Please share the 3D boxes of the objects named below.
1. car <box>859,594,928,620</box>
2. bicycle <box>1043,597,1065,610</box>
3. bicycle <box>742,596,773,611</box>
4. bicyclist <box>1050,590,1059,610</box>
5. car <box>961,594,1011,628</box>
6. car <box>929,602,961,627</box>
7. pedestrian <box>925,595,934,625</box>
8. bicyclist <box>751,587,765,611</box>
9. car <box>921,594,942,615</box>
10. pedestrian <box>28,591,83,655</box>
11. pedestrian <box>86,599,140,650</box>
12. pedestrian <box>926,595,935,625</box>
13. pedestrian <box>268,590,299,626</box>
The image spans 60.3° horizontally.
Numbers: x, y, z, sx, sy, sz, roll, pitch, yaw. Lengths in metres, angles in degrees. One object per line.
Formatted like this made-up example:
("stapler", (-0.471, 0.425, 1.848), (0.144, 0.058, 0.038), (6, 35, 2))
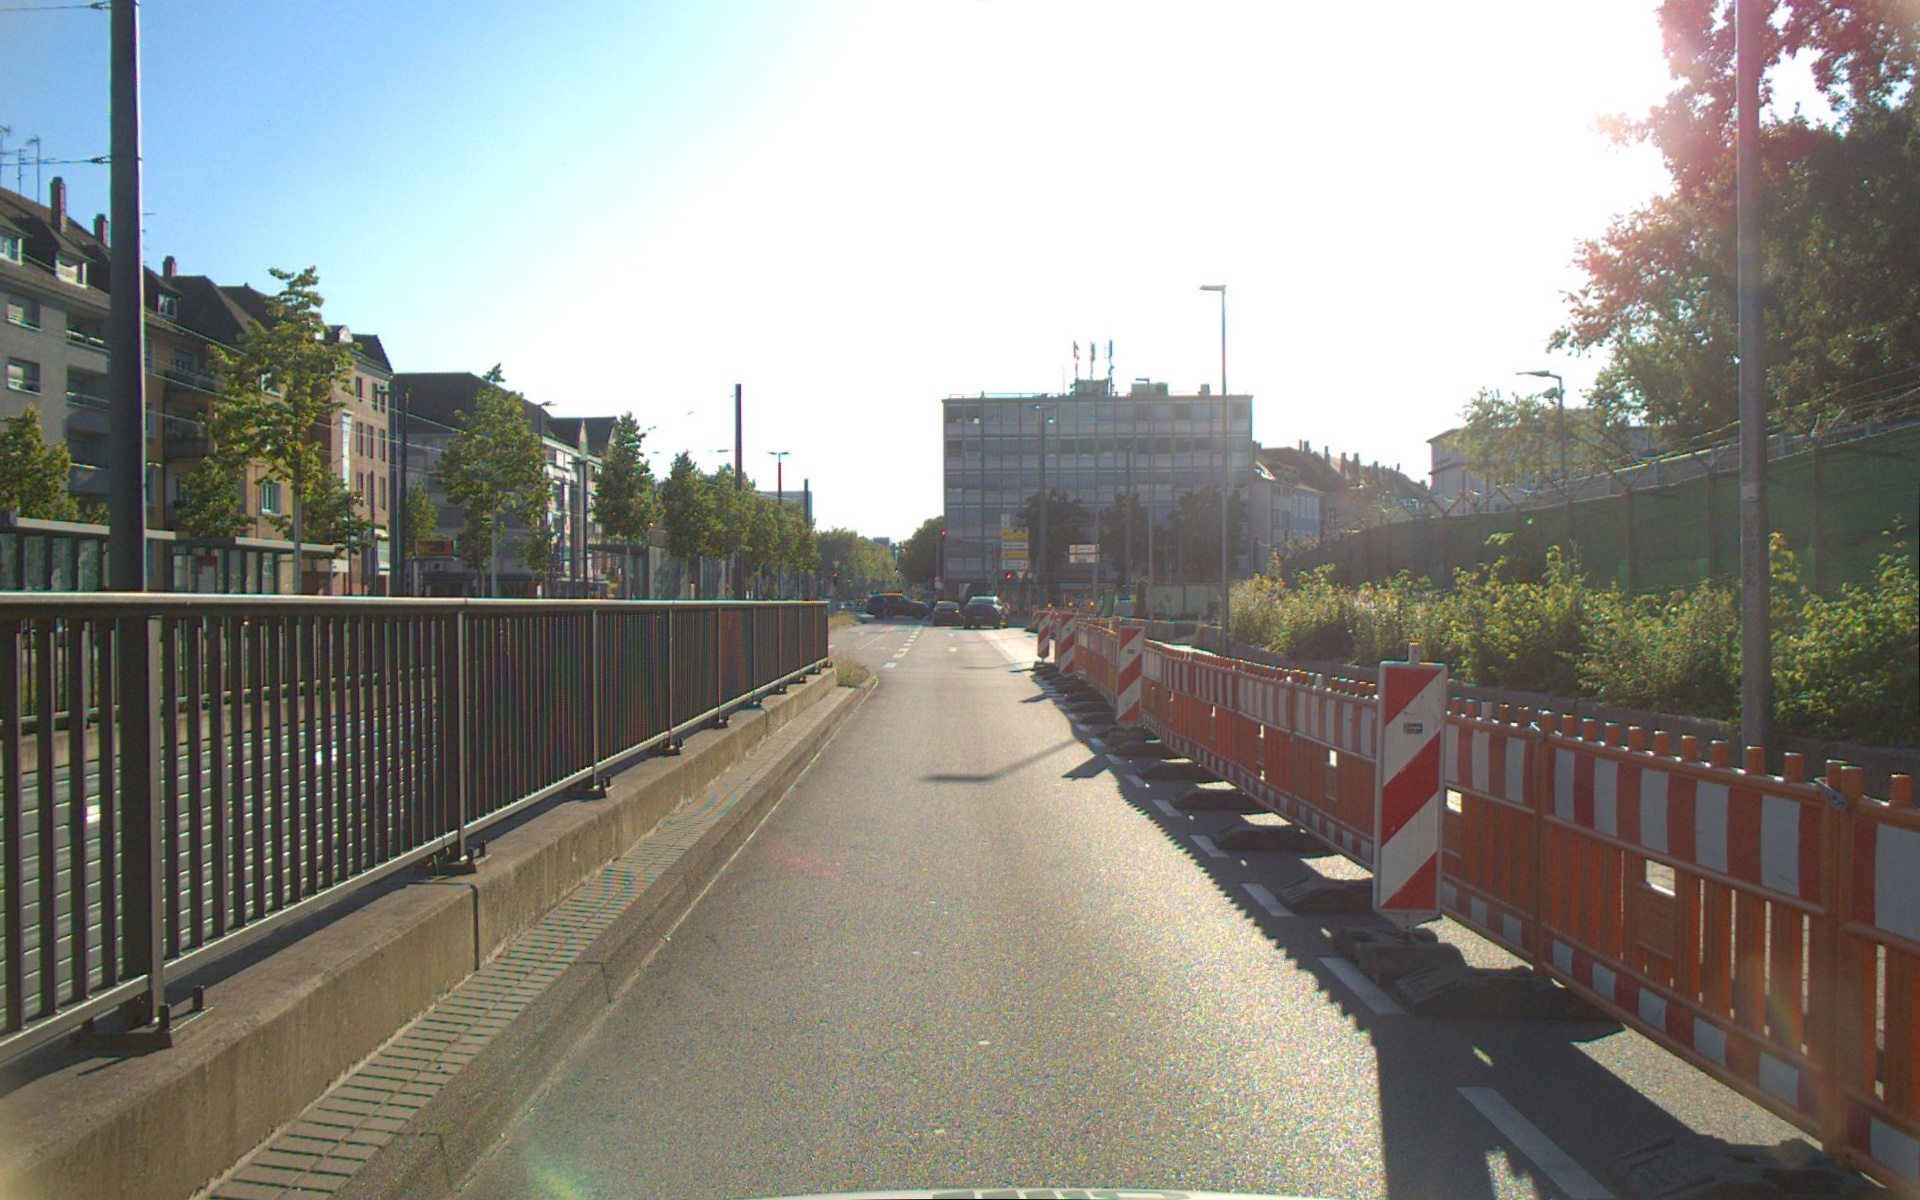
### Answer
("car", (-4.840, 0.500, 120.976), (4.715, 1.780, 2.002), (0, 0, 11))
("bicycle", (8.020, 0.334, 140.945), (1.744, 1.091, 0.534), (-1, 0, -11))
("bicycle", (-14.524, 0.273, 118.631), (2.180, 1.044, 0.682), (0, 0, 2))
("bicyclist", (8.023, 0.005, 140.950), (0.651, 1.742, 0.537), (-1, 0, -11))
("car", (1.485, 0.575, 91.627), (1.951, 1.723, 4.004), (1, 1, 13))
("car", (-0.925, 0.836, 98.546), (1.709, 1.451, 3.997), (0, 0, -3))
("pedestrian", (-2.061, 0.657, 112.842), (0.600, 2.049, 0.511), (0, 0, 2))
("bicyclist", (-14.493, -0.048, 118.634), (0.939, 1.690, 0.691), (0, 0, 2))
("car", (-3.541, 0.510, 202.815), (2.436, 2.434, 5.932), (-2, 0, -2))
("pedestrian", (-20.729, 0.519, 37.917), (0.821, 1.435, 0.803), (-1, 0, -1))
("pedestrian", (-20.734, 0.592, 40.489), (0.915, 1.218, 0.764), (-1, 0, -1))
("pedestrian", (-2.045, 0.658, 113.409), (0.600, 2.049, 0.511), (0, 0, 2))
("pedestrian", (-20.579, 0.237, 50.339), (0.614, 1.065, 0.794), (-1, 0, -1))
